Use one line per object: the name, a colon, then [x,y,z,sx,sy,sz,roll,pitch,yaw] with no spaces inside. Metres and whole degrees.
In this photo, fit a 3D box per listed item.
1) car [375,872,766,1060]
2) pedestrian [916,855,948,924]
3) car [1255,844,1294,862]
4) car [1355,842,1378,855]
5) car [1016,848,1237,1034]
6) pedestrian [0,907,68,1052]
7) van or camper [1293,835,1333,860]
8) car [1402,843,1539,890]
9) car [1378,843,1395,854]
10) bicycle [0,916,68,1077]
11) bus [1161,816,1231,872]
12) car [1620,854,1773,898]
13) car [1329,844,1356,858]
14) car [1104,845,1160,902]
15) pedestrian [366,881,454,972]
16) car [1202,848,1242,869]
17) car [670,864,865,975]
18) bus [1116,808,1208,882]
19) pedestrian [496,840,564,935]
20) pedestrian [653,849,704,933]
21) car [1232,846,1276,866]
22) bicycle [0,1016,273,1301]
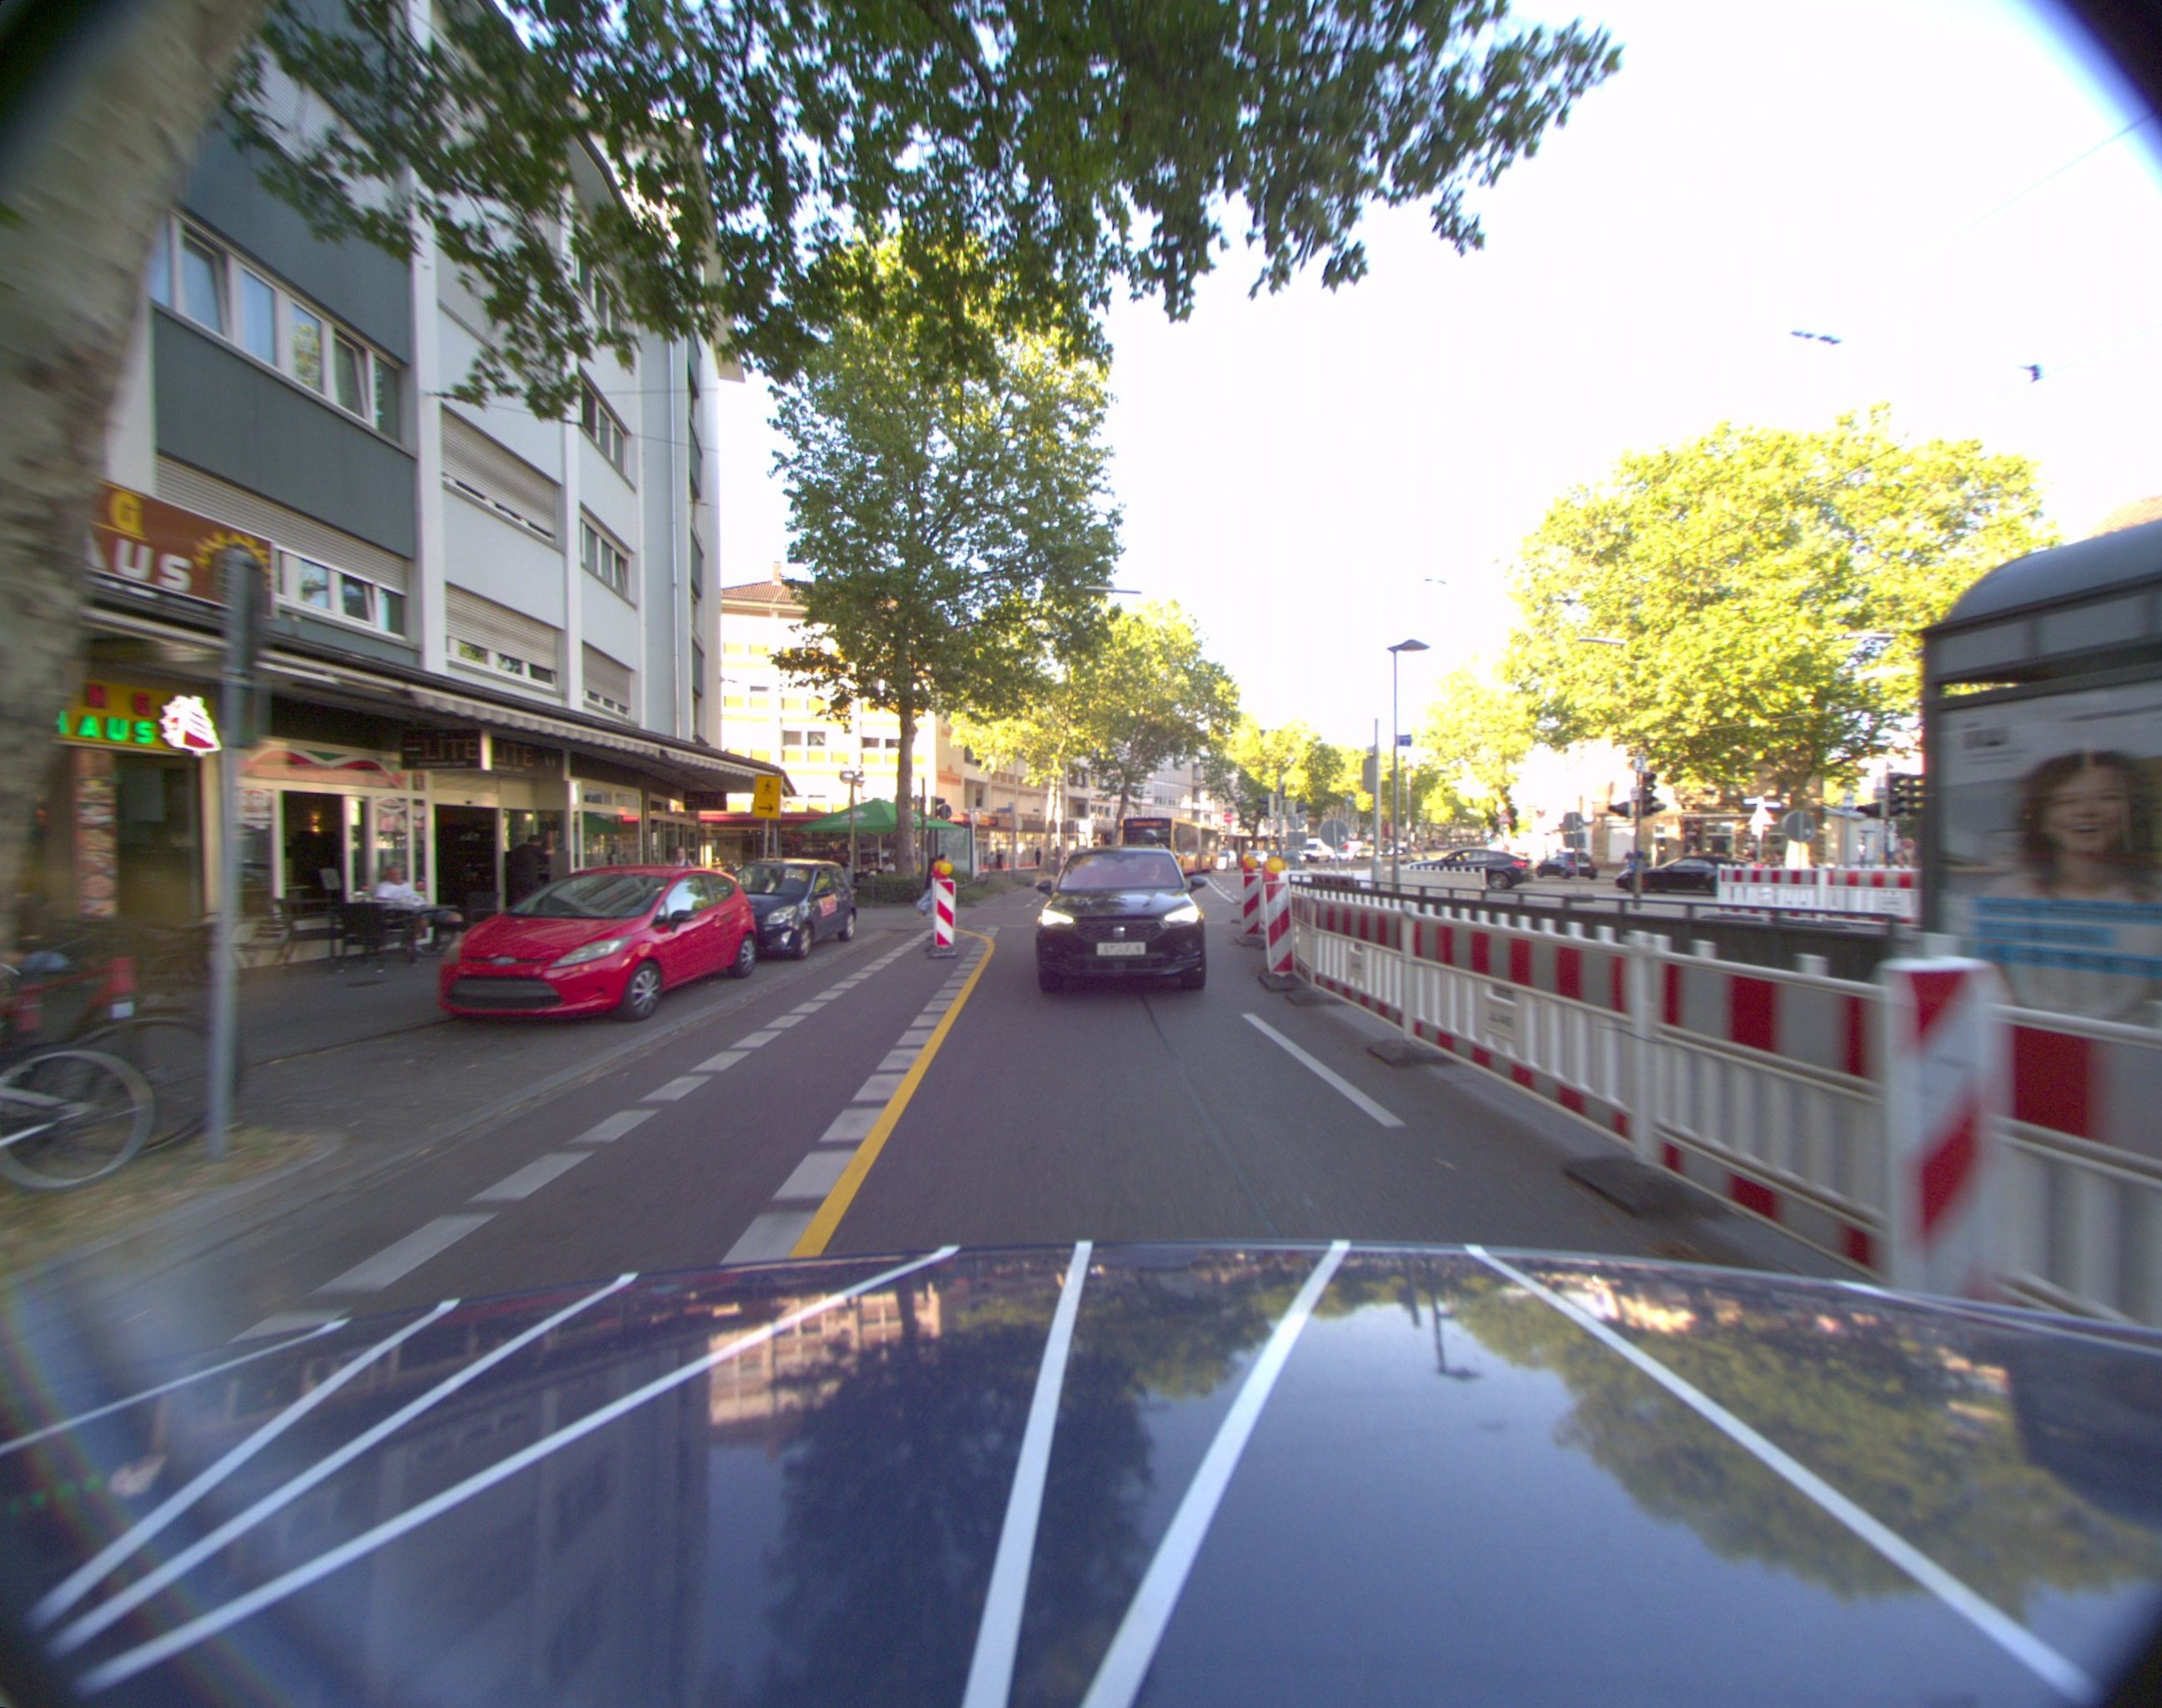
car: [-5.048,0.980,8.297,1.735,1.434,3.982,1,0,-3]
pedestrian: [-3.458,0.817,17.635,0.623,1.551,0.471,-1,1,-1]
car: [18.197,-0.099,71.347,1.994,1.587,4.570,0,1,36]
car: [37.598,-0.744,99.984,1.994,1.586,4.008,0,0,34]
car: [0.388,0.791,9.126,1.999,1.638,4.203,-2,1,-1]
pedestrian: [-8.945,1.027,6.259,0.520,1.127,0.507,0,1,-22]
van or camper: [24.751,-0.696,80.892,2.285,2.524,5.506,0,1,37]
car: [15.400,0.462,30.146,4.424,1.638,2.005,2,1,40]
car: [45.625,-0.887,113.361,1.702,1.578,3.713,0,1,32]
bicycle: [-8.054,1.024,4.598,0.778,1.097,2.267,2,0,2]
bus: [8.033,-0.633,51.312,2.734,3.188,12.377,-2,0,17]
car: [20.425,0.665,25.329,1.615,1.262,3.667,-1,2,-39]
car: [30.868,-0.394,89.685,1.994,1.587,4.008,0,1,36]
car: [1.631,0.551,23.916,1.610,1.618,3.679,-1,1,4]
pedestrian: [-9.065,0.961,10.287,0.601,1.141,0.624,3,1,1]
car: [11.171,0.302,60.056,1.995,1.587,4.569,0,1,25]
car: [-4.941,0.942,12.569,1.659,1.471,3.800,1,0,0]
bus: [4.604,-0.422,40.019,2.735,3.188,12.320,-2,0,16]
pedestrian: [-10.113,0.592,13.972,0.710,1.699,0.678,-1,1,1]
pedestrian: [-7.671,0.693,14.498,0.584,1.551,0.642,1,1,2]
car: [14.946,0.121,65.479,1.994,1.587,4.570,0,1,36]
bicycle: [-4.521,1.298,2.939,0.625,0.879,2.039,1,0,-1]
